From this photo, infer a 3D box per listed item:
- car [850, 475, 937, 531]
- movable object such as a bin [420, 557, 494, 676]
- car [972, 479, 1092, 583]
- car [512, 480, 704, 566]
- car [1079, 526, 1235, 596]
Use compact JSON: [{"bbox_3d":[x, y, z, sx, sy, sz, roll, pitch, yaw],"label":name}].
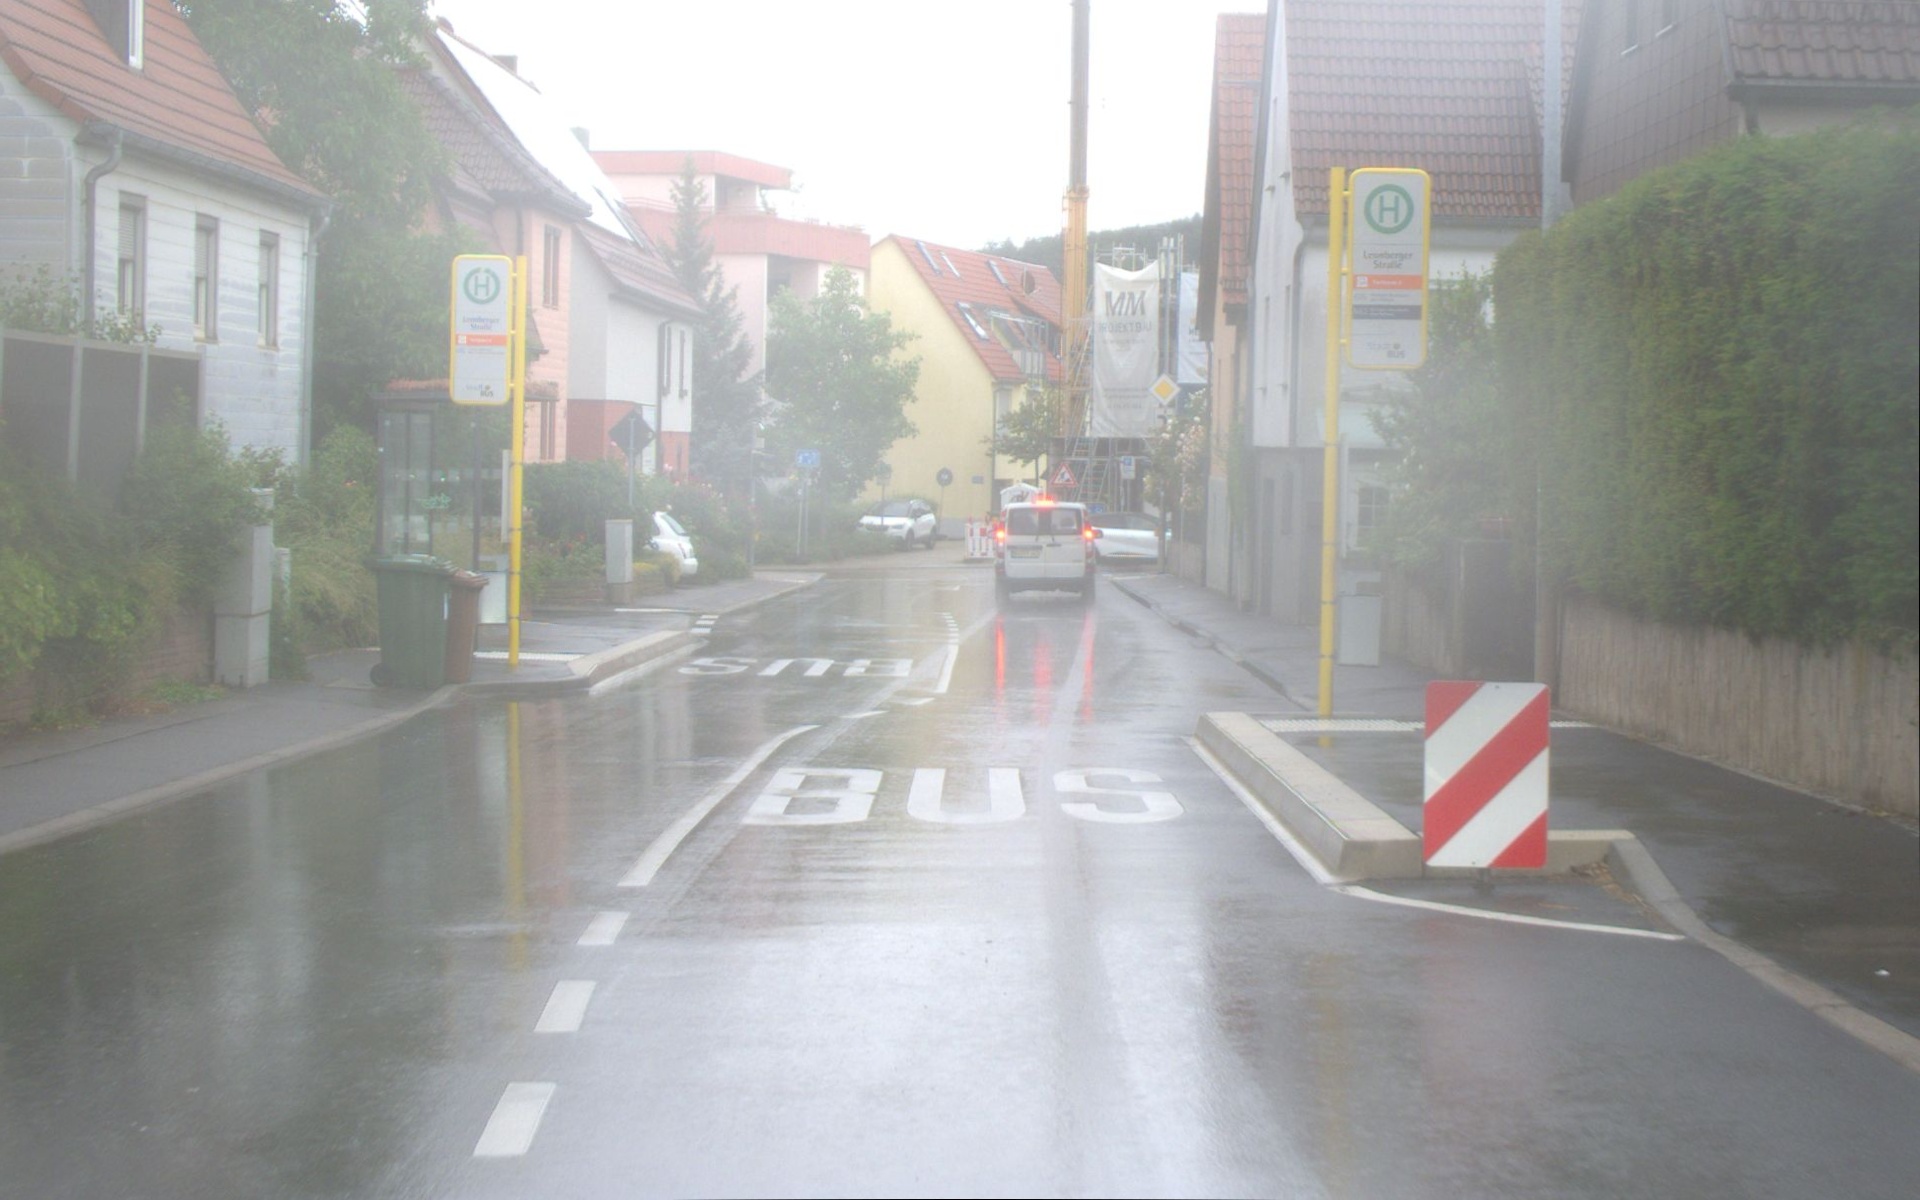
[{"bbox_3d":[-2.105,-3.101,109.672,1.601,1.672,3.936,3,3,16],"label":"car"},{"bbox_3d":[-4.223,0.137,28.857,0.468,0.935,0.454,5,4,3],"label":"movable object such as a bin"},{"bbox_3d":[1.342,-1.300,64.850,2.181,1.863,4.000,1,1,1],"label":"car"},{"bbox_3d":[-7.026,-1.542,68.761,3.545,1.524,1.663,3,2,2],"label":"car"},{"bbox_3d":[5.236,-1.037,91.022,3.988,1.787,1.804,1,1,8],"label":"car"}]
